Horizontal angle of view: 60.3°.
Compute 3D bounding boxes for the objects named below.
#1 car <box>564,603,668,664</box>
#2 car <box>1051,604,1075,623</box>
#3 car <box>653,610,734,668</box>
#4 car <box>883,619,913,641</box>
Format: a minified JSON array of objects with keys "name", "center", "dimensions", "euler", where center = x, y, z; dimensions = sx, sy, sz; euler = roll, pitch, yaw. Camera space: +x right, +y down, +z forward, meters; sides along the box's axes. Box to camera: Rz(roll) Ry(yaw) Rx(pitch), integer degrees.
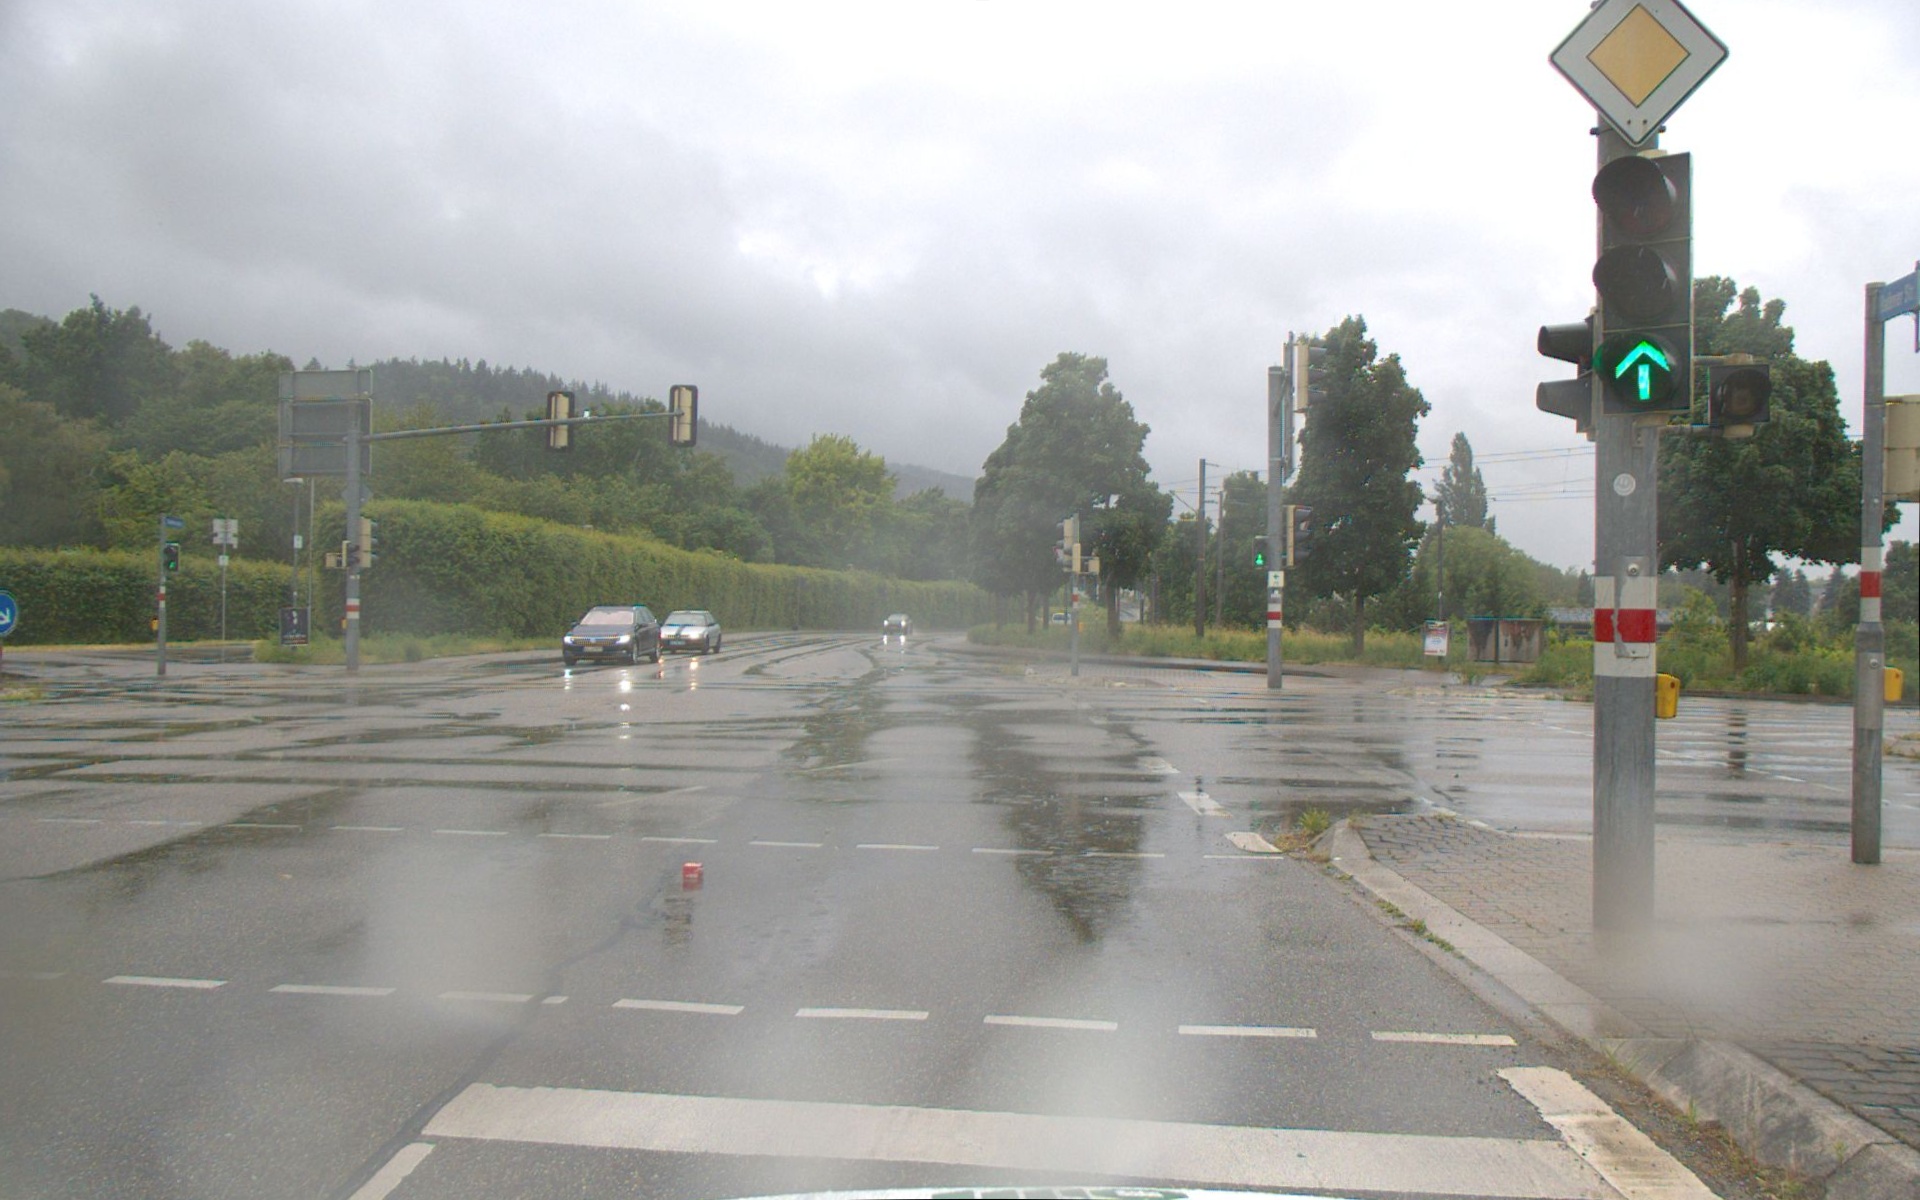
[{"name":"car","center":[-8.917,0.837,43.249],"dimensions":[1.673,1.491,4.453],"euler":[0,0,1]},{"name":"car","center":[10.938,1.412,176.158],"dimensions":[1.912,1.937,4.123],"euler":[0,0,13]},{"name":"car","center":[-8.601,1.230,53.641],"dimensions":[1.995,1.738,4.065],"euler":[1,0,-1]},{"name":"car","center":[-4.626,2.213,123.675],"dimensions":[1.747,1.531,4.063],"euler":[2,0,5]}]
